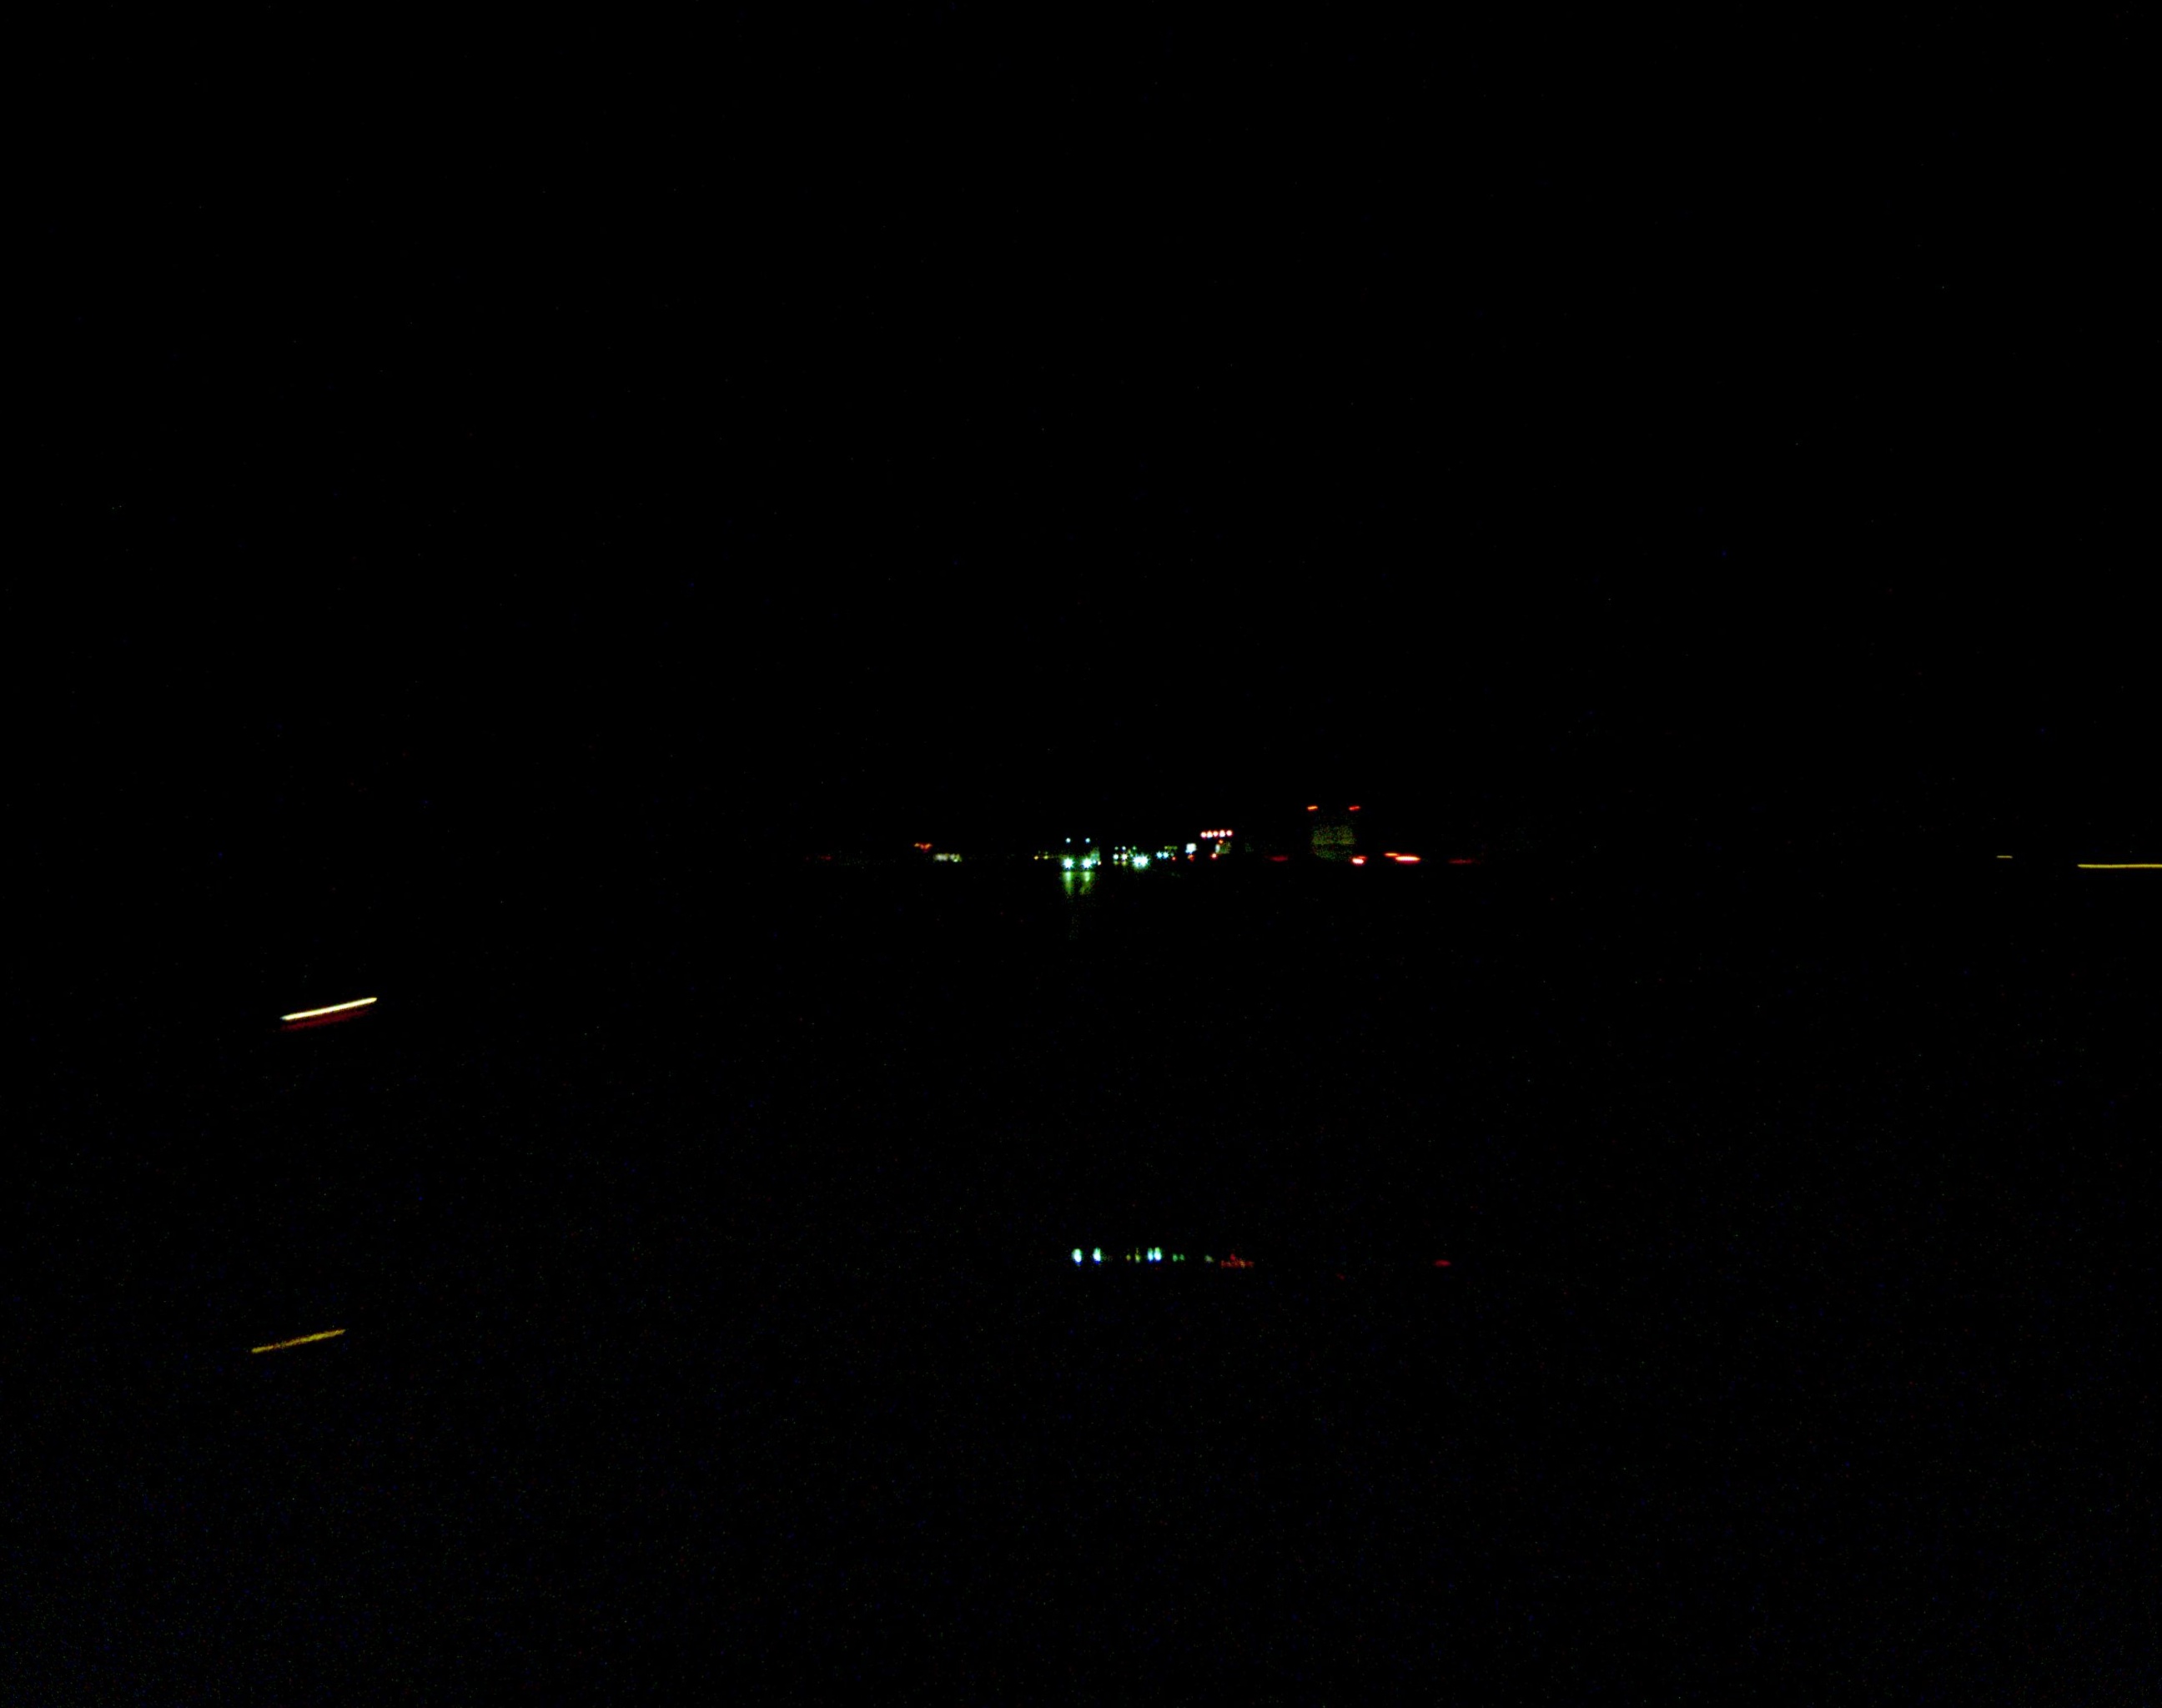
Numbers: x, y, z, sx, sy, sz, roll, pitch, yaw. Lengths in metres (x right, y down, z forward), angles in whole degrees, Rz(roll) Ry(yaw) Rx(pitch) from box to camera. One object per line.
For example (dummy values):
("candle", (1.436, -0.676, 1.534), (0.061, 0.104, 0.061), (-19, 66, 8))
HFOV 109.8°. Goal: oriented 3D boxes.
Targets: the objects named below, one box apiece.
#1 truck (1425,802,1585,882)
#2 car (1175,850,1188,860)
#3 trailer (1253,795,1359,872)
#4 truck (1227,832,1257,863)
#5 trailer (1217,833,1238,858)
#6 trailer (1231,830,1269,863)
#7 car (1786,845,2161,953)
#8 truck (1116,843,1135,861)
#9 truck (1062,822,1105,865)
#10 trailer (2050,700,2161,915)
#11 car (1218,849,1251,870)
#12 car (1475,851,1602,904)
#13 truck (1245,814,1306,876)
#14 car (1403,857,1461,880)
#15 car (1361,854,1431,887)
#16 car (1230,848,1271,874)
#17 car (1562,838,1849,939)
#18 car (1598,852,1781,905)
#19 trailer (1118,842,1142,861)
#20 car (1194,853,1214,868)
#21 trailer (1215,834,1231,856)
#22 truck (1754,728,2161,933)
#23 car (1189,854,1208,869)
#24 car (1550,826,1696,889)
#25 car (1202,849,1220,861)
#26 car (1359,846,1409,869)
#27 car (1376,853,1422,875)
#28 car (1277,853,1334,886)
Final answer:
("truck", (17.950, -0.474, 32.953), (2.563, 2.942, 8.172), (-2, 0, 2))
("car", (14.468, 0.146, 109.415), (1.631, 1.342, 4.002), (-2, 0, 6))
("trailer", (13.798, -1.268, 48.000), (3.098, 4.065, 12.447), (-4, 1, 2))
("truck", (20.544, -0.830, 97.328), (2.834, 3.893, 4.935), (0, 0, 1))
("trailer", (26.828, -1.551, 139.672), (2.845, 4.439, 14.530), (1, 1, 8))
("trailer", (20.472, -0.839, 92.541), (2.827, 3.894, 8.740), (0, 0, 1))
("car", (13.447, 0.568, 11.717), (1.574, 1.346, 4.001), (-2, 0, 3))
("truck", (10.933, -0.603, 185.612), (2.871, 3.819, 8.059), (-3, 3, 16))
("truck", (0.525, -1.094, 83.465), (3.490, 4.110, 18.713), (-2, 0, 4))
("trailer", (17.126, -0.703, 7.934), (2.612, 3.158, 9.002), (-4, 1, 2))
("car", (11.561, 0.393, 57.529), (1.847, 1.418, 4.514), (-3, 0, 5))
("car", (13.282, 0.620, 22.366), (1.574, 1.346, 4.001), (-2, 0, 5))
("truck", (14.264, -0.719, 56.170), (3.115, 4.074, 7.077), (-4, 1, 6))
("car", (22.280, 0.896, 48.456), (1.574, 1.346, 4.576), (-1, 0, 0))
("car", (13.937, 0.689, 33.861), (1.574, 1.308, 4.161), (-2, 0, 3))
("car", (10.366, 0.408, 46.750), (1.878, 1.418, 4.514), (-2, 0, 5))
("car", (9.890, 0.472, 12.496), (1.574, 1.346, 4.001), (-2, 0, 3))
("car", (17.154, 0.629, 21.764), (1.574, 1.346, 4.576), (-1, 0, 0))
("trailer", (12.401, -0.683, 190.406), (2.878, 3.910, 12.897), (-3, 2, 17))
("car", (11.775, 0.623, 72.958), (1.706, 1.418, 4.515), (0, 0, 7))
("trailer", (28.792, -1.718, 154.751), (2.880, 4.159, 14.533), (0, 0, 10))
("truck", (17.321, -0.471, 15.161), (2.650, 3.201, 5.794), (-4, 1, 2))
("car", (12.640, 0.768, 81.931), (1.837, 1.544, 4.514), (0, 0, 5))
("car", (21.778, 0.122, 30.833), (2.465, 2.282, 4.788), (-2, 0, 0))
("car", (17.346, 0.123, 101.508), (1.951, 1.435, 4.651), (0, 0, 4))
("car", (18.465, 0.183, 46.508), (1.574, 1.308, 4.161), (-2, 0, 3))
("car", (22.531, 0.665, 53.981), (1.657, 1.468, 3.774), (0, 0, 0))
("car", (10.108, 0.667, 34.484), (1.574, 1.346, 4.001), (-2, 0, 3))
